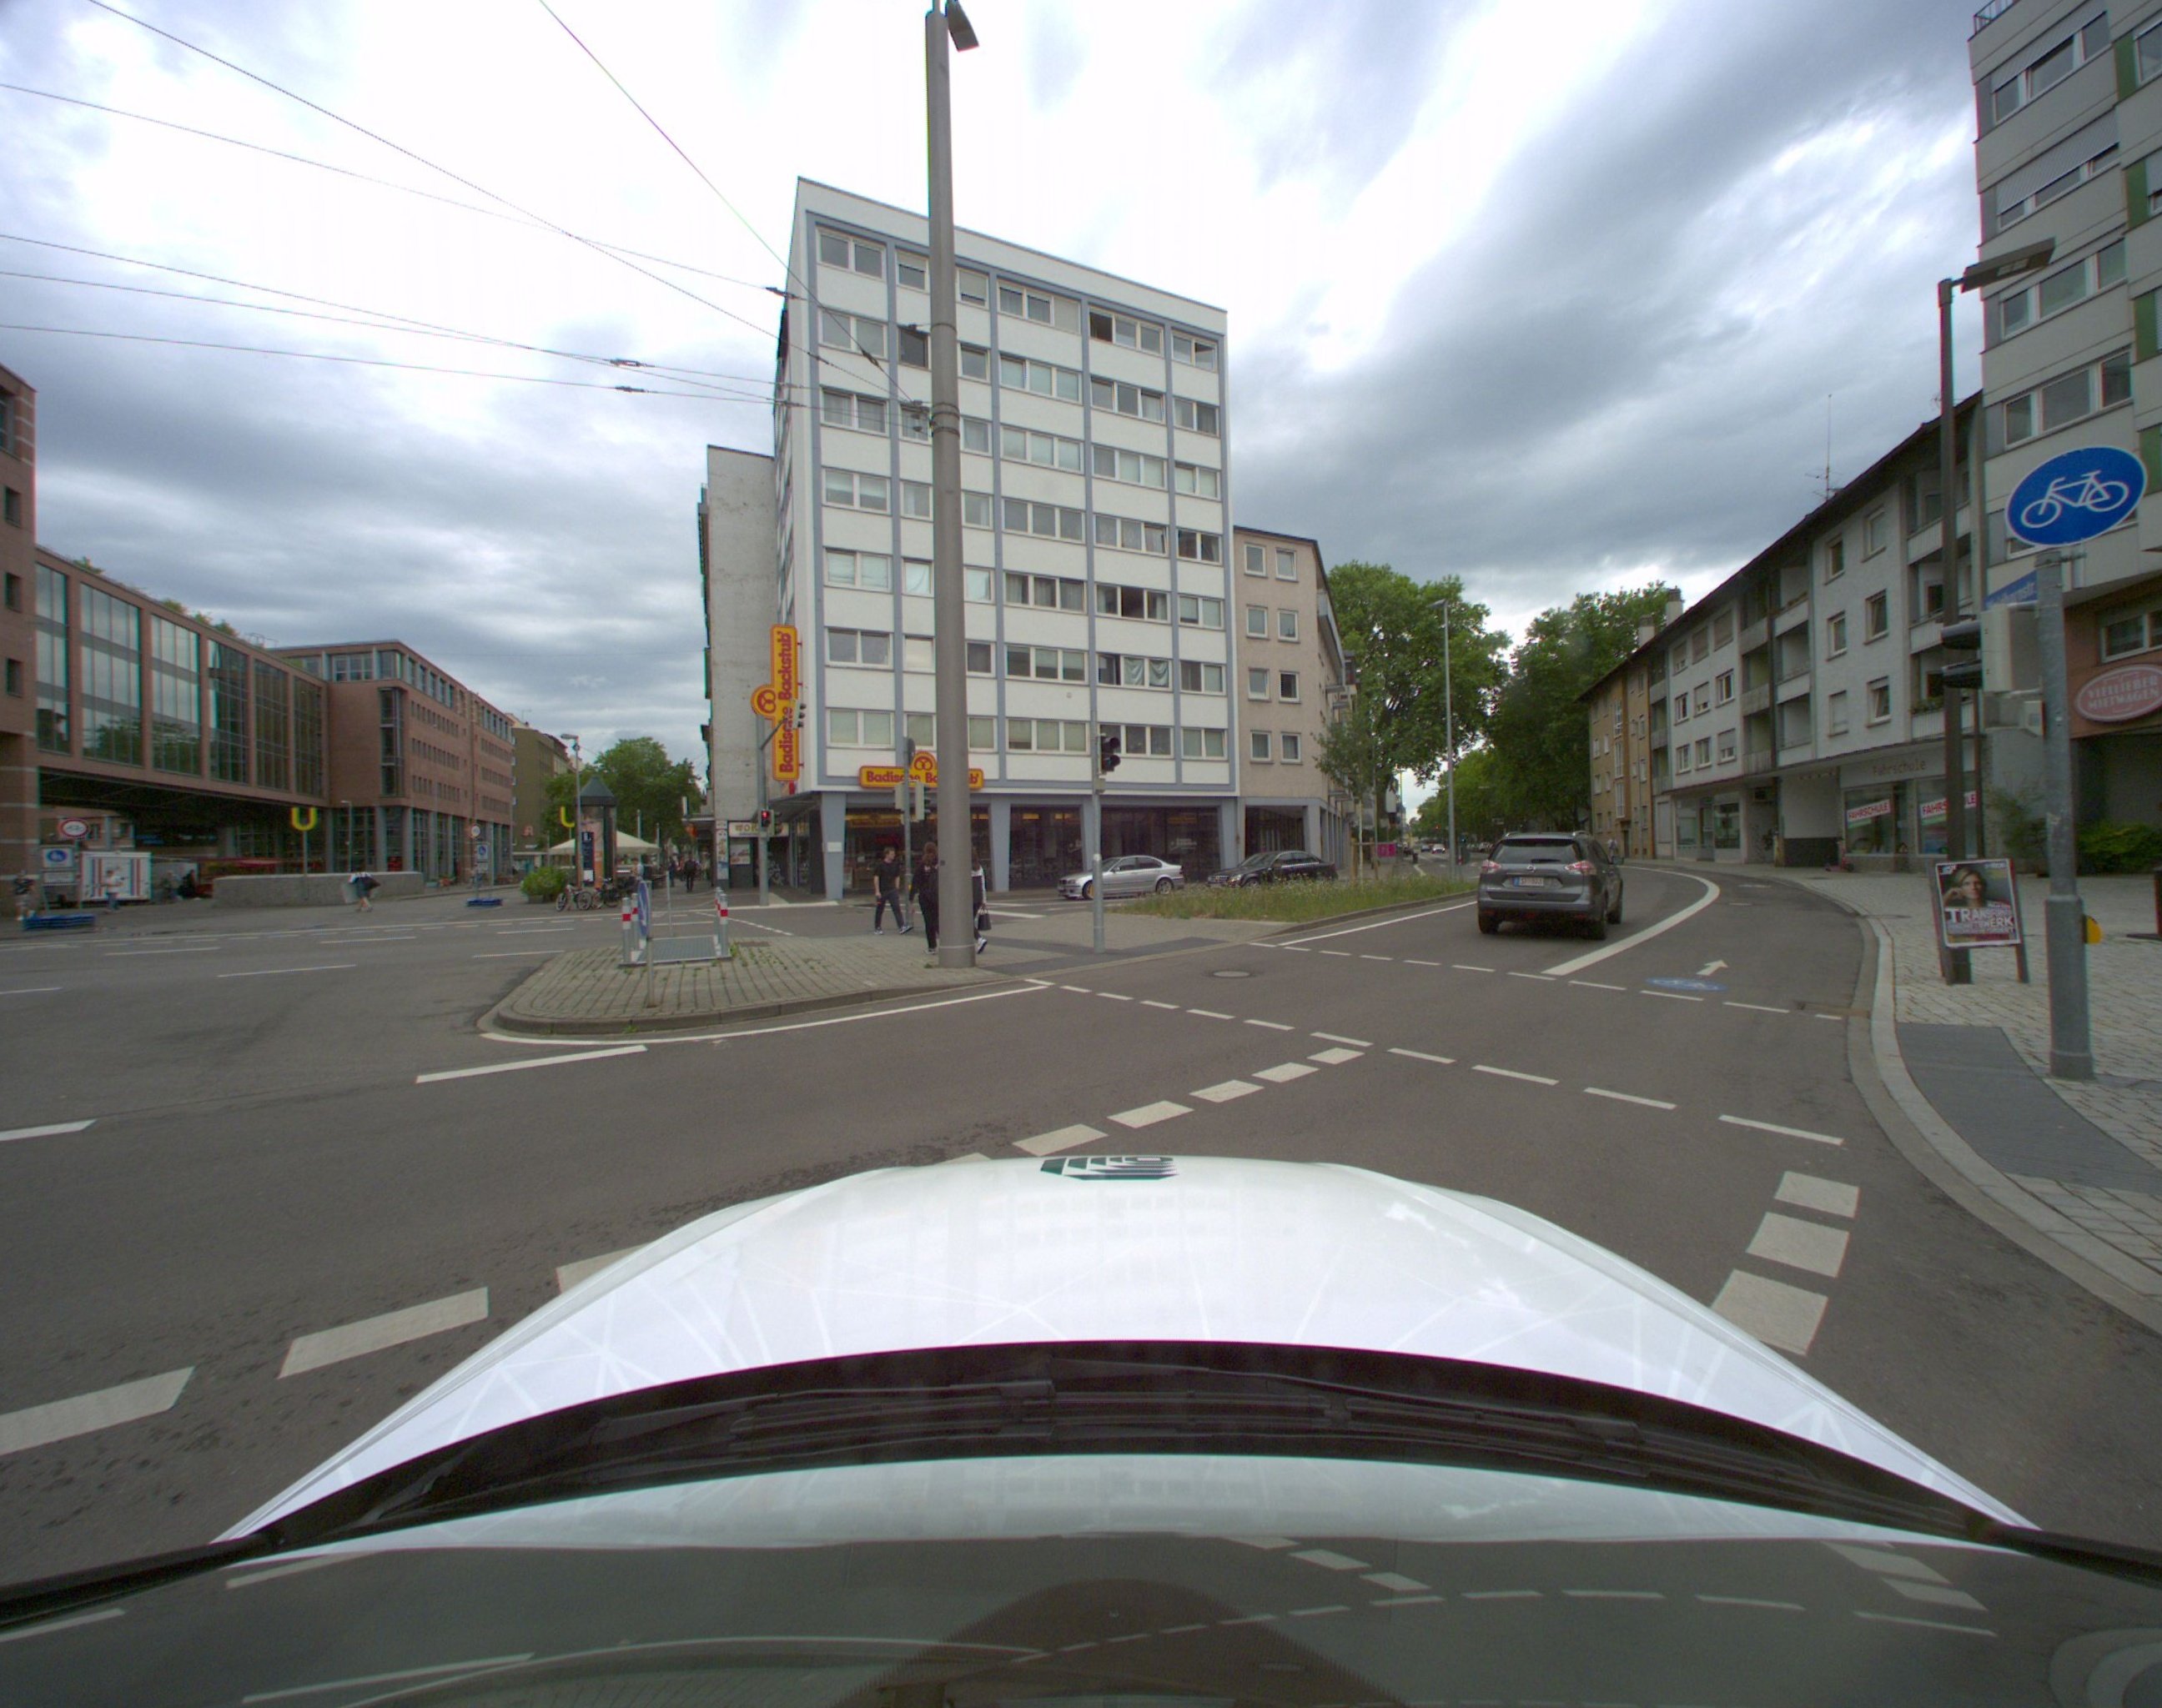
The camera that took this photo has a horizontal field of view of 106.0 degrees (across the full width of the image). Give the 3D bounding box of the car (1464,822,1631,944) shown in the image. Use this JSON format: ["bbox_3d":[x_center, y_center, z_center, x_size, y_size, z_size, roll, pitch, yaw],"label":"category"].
[{"bbox_3d":[8.263,0.376,14.210,1.845,1.774,4.596,0,1,39],"label":"car"}]

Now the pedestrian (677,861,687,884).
[{"bbox_3d":[-30.161,1.388,61.590,0.614,1.705,0.615,0,-1,-24],"label":"pedestrian"}]

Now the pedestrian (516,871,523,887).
[{"bbox_3d":[-58.588,2.615,84.959,0.604,1.714,0.649,0,-1,-32],"label":"pedestrian"}]

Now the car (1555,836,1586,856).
[{"bbox_3d":[44.759,-0.770,74.549,1.847,1.774,4.006,0,1,23],"label":"car"}]

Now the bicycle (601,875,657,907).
[{"bbox_3d":[-16.088,1.310,29.033,1.700,1.065,0.434,0,-1,-19],"label":"bicycle"}]

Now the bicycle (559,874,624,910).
[{"bbox_3d":[-17.129,1.315,28.520,1.882,1.172,0.525,0,-1,-39],"label":"bicycle"}]

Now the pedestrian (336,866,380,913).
[{"bbox_3d":[-26.308,1.282,29.659,0.924,1.705,0.733,0,-1,-5],"label":"pedestrian"}]

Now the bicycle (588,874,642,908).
[{"bbox_3d":[-16.827,1.320,29.429,1.707,1.172,0.433,0,-1,-32],"label":"bicycle"}]

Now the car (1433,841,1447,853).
[{"bbox_3d":[55.760,-1.077,126.578,1.847,1.774,4.006,0,1,23],"label":"car"}]

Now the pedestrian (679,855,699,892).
[{"bbox_3d":[-18.695,0.922,38.832,0.710,1.705,0.731,0,-1,-12],"label":"pedestrian"}]

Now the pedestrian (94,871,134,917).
[{"bbox_3d":[-39.050,1.604,32.894,0.699,1.842,0.733,0,-1,-5],"label":"pedestrian"}]

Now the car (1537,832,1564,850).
[{"bbox_3d":[47.193,-1.305,81.870,1.847,1.774,4.006,0,1,23],"label":"car"}]

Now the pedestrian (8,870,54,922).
[{"bbox_3d":[-38.103,1.522,29.554,0.700,1.842,0.732,0,-1,-9],"label":"pedestrian"}]

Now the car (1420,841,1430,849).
[{"bbox_3d":[71.790,-1.882,169.865,1.847,1.774,4.006,0,1,23],"label":"car"}]

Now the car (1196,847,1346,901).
[{"bbox_3d":[6.043,0.593,25.849,4.577,1.481,1.733,-2,0,-27],"label":"car"}]

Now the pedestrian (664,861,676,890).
[{"bbox_3d":[-24.919,1.291,49.372,0.646,1.705,0.554,0,-1,-24],"label":"pedestrian"}]

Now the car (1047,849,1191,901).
[{"bbox_3d":[1.300,0.664,27.452,4.577,1.481,1.733,-2,0,-27],"label":"car"}]

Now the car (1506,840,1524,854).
[{"bbox_3d":[59.025,-0.989,110.840,1.847,1.774,4.006,0,1,23],"label":"car"}]

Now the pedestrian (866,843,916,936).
[{"bbox_3d":[-3.927,0.708,16.785,0.717,1.832,1.006,0,-1,-32],"label":"pedestrian"}]

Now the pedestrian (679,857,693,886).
[{"bbox_3d":[-25.515,1.108,52.591,0.742,1.821,0.656,-1,0,-27],"label":"pedestrian"}]

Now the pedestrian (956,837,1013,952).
[{"bbox_3d":[-1.541,0.627,12.952,0.625,1.761,0.772,0,-1,-32],"label":"pedestrian"}]

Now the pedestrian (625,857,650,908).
[{"bbox_3d":[-15.681,0.993,28.782,0.737,1.746,0.656,0,-1,-32],"label":"pedestrian"}]

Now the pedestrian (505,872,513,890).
[{"bbox_3d":[-54.609,2.541,77.795,0.604,1.714,0.649,0,-1,-32],"label":"pedestrian"}]

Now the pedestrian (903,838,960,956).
[{"bbox_3d":[-2.331,0.644,12.665,0.625,1.761,0.772,0,-1,-32],"label":"pedestrian"}]

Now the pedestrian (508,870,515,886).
[{"bbox_3d":[-63.830,2.677,91.345,0.604,1.714,0.649,0,-1,-32],"label":"pedestrian"}]

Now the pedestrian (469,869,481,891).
[{"bbox_3d":[-43.251,1.843,58.149,0.604,1.536,0.649,0,-1,-32],"label":"pedestrian"}]

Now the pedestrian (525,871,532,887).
[{"bbox_3d":[-59.095,2.664,87.078,0.604,1.714,0.649,0,-1,-32],"label":"pedestrian"}]

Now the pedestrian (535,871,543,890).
[{"bbox_3d":[-50.248,2.486,75.485,0.604,1.714,0.649,0,-1,-32],"label":"pedestrian"}]
